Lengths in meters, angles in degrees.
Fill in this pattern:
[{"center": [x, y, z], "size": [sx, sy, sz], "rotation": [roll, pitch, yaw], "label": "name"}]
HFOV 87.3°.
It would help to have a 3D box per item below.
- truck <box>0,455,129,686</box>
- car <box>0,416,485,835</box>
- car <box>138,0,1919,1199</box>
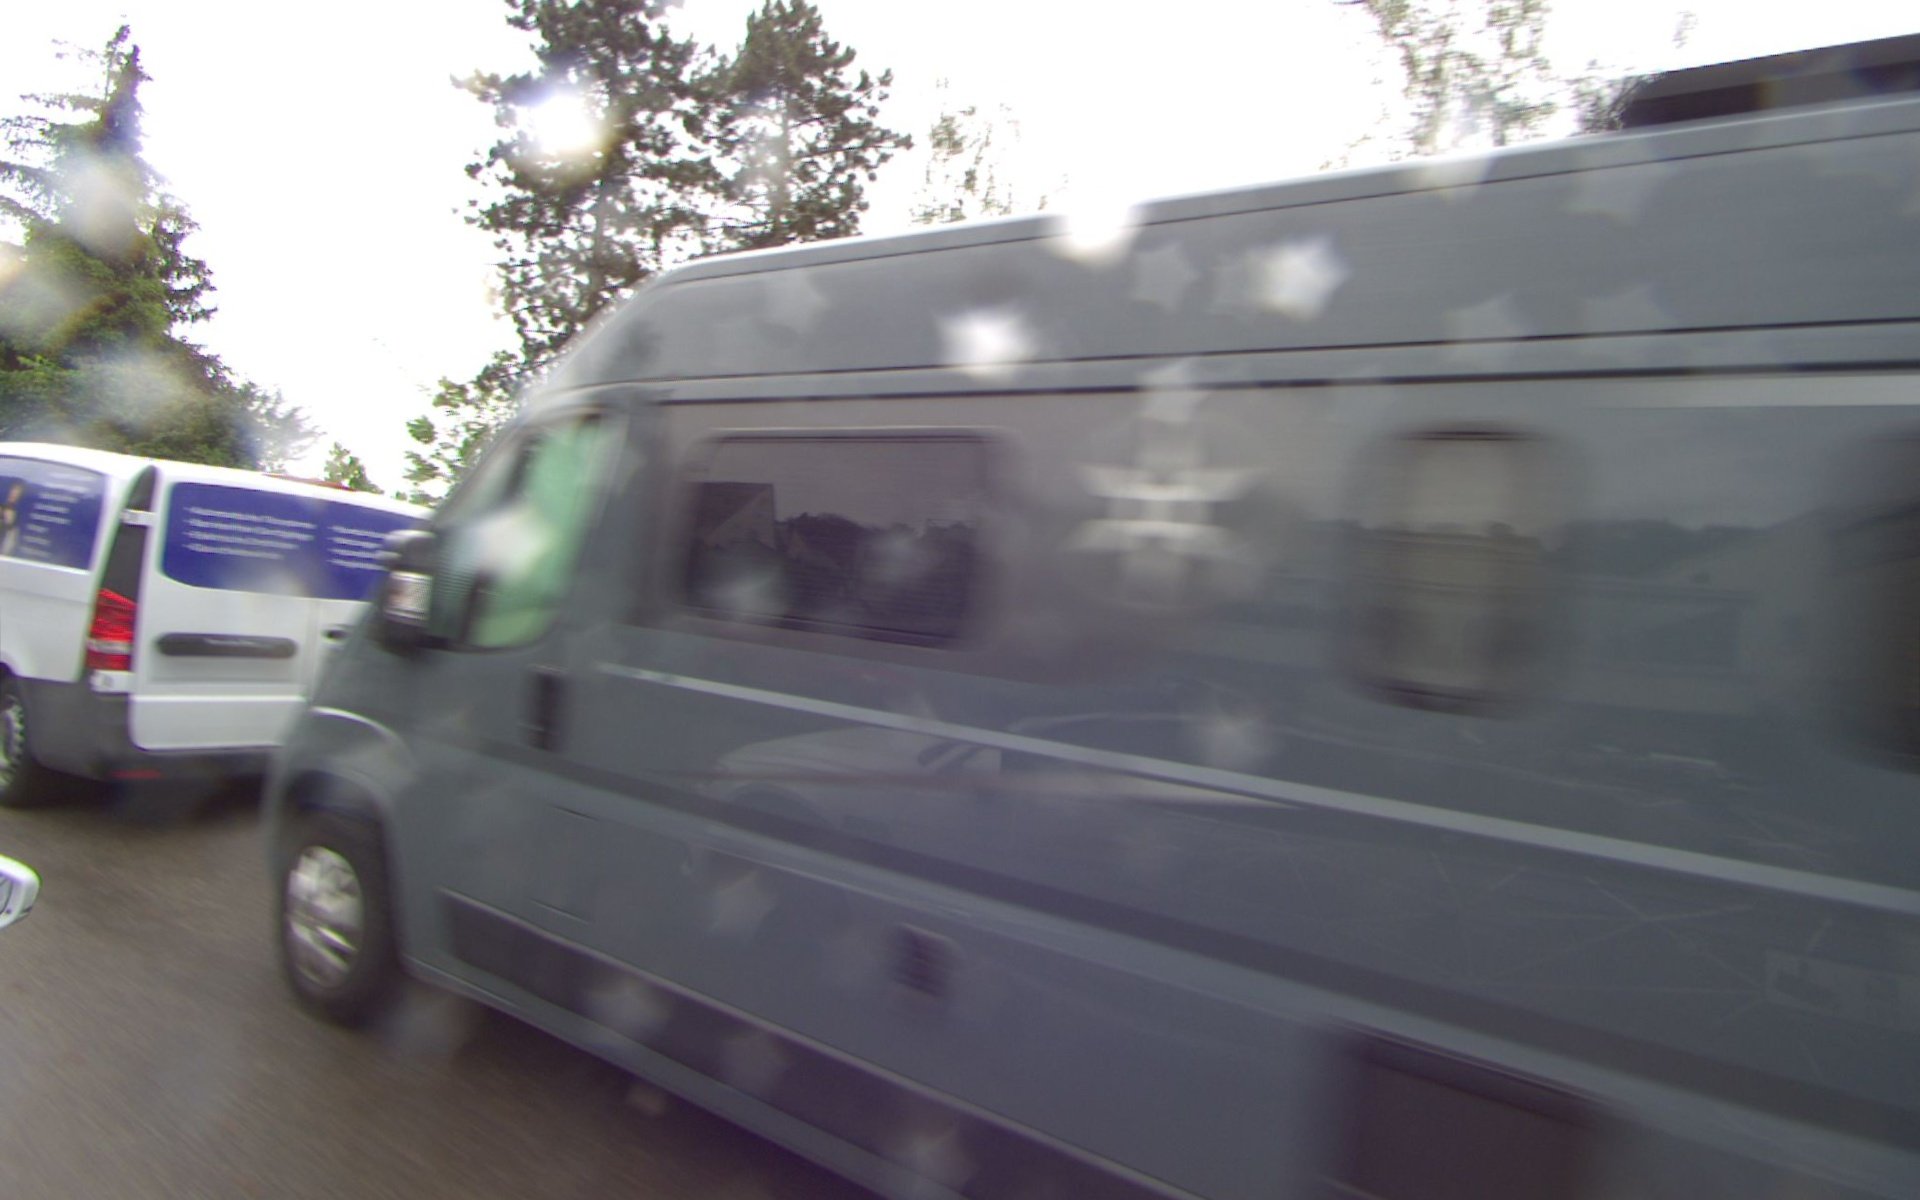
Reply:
[{"center": [-10.952, -0.619, 9.796], "size": [6.506, 1.871, 2.121], "rotation": [7, -4, 30], "label": "truck"}, {"center": [-5.607, -0.051, 6.598], "size": [5.182, 1.864, 1.830], "rotation": [6, -1, 32], "label": "car"}, {"center": [0.248, 0.314, 2.940], "size": [5.856, 2.535, 2.035], "rotation": [7, -1, 31], "label": "car"}]
